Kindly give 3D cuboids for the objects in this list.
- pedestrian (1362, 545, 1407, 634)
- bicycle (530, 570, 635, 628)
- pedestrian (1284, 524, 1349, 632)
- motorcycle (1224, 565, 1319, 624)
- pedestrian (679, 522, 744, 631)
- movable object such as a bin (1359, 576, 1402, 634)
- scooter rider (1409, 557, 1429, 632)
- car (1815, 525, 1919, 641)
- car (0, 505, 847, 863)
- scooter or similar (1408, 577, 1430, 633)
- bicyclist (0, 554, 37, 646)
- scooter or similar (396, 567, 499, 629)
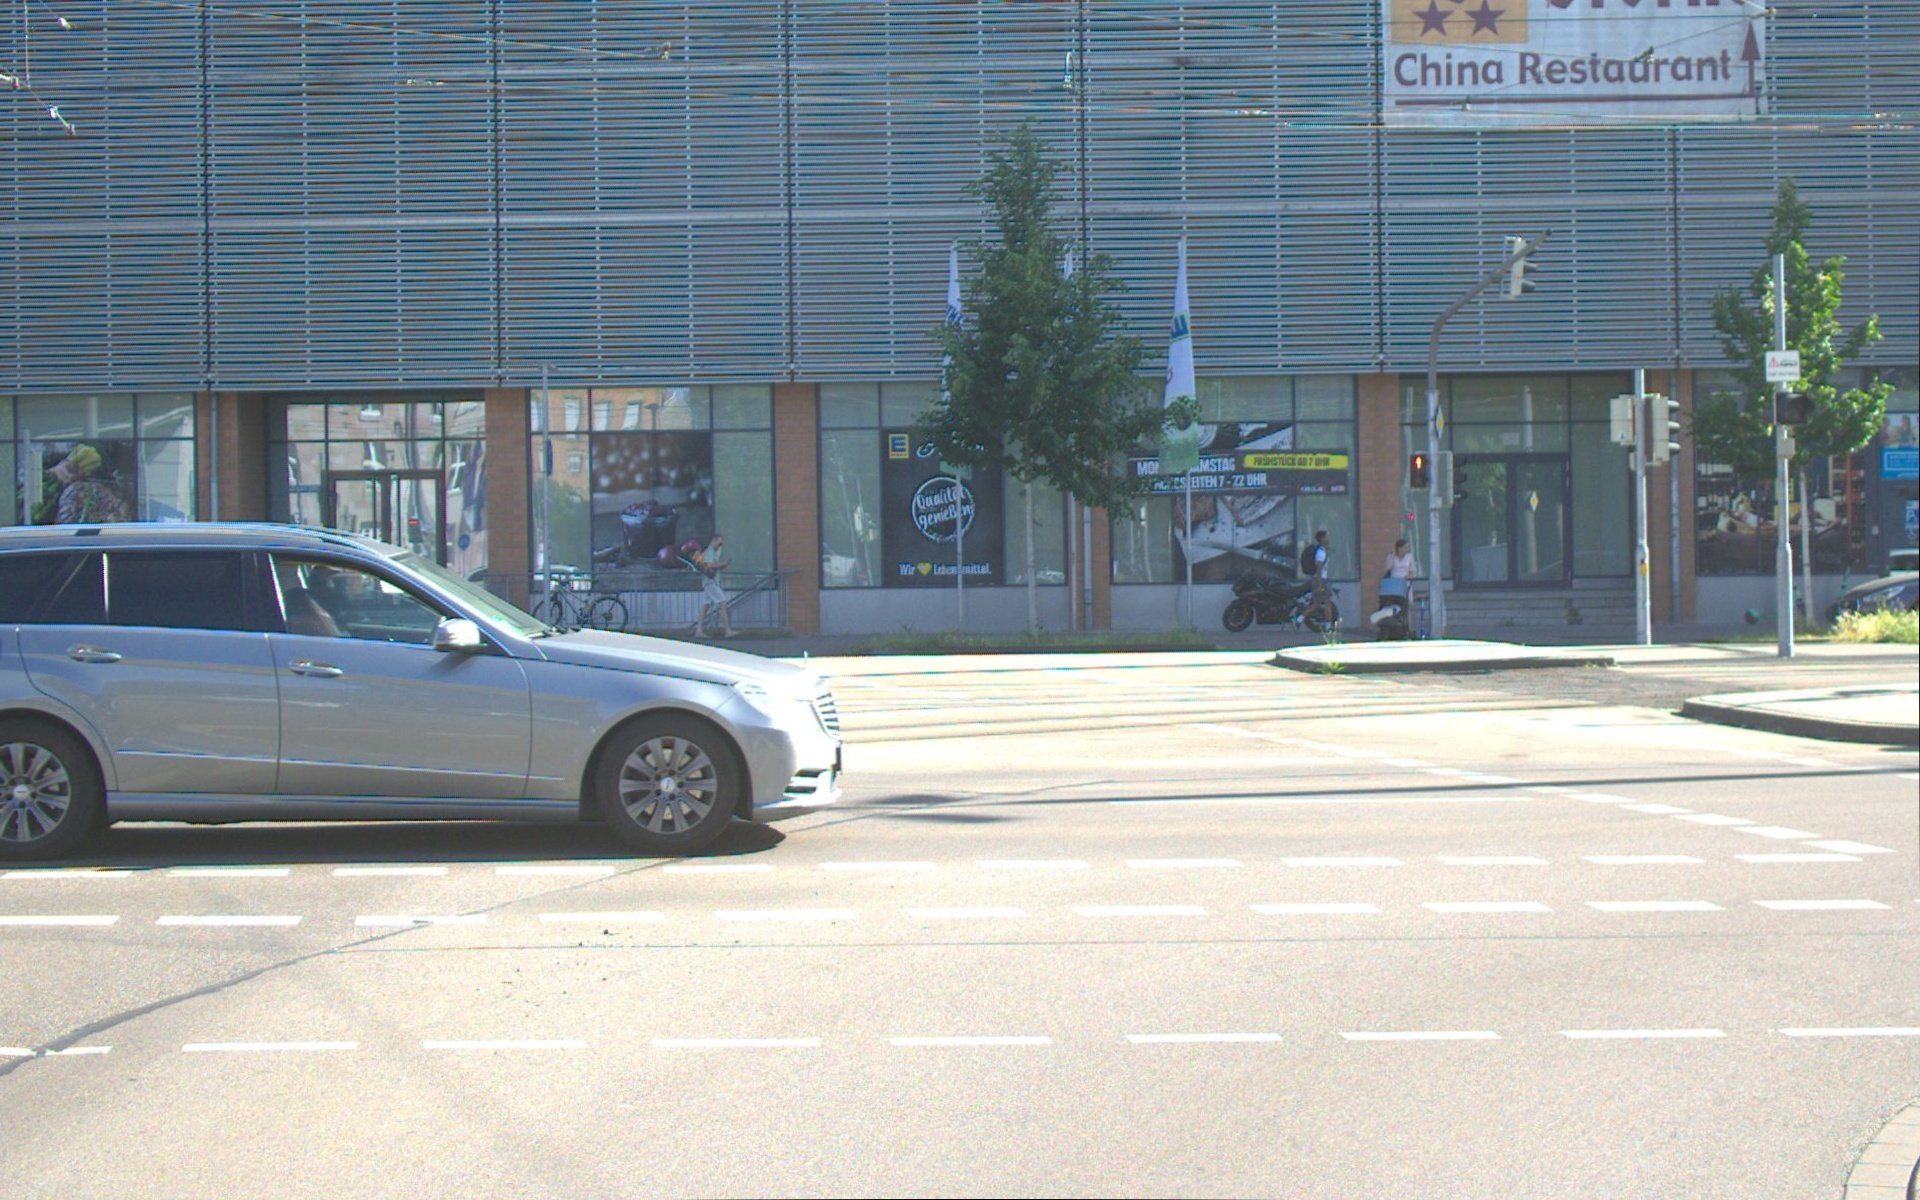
[{"bbox_3d":[6.830,-0.177,55.270,0.655,1.409,0.849,1,0,10],"label":"pedestrian"},{"bbox_3d":[-6.650,-0.017,60.543,1.815,0.986,0.558,-1,2,-10],"label":"bicycle"},{"bbox_3d":[6.138,-0.387,59.238,1.012,1.822,1.035,-2,1,3],"label":"pedestrian"},{"bbox_3d":[5.494,-0.101,60.636,1.640,1.001,0.446,1,1,6],"label":"motorcycle"},{"bbox_3d":[-4.305,-0.406,59.629,0.950,1.822,0.845,-2,-3,5],"label":"pedestrian"},{"bbox_3d":[6.712,0.079,54.809,0.613,0.901,0.968,1,0,10],"label":"movable object such as a bin"},{"bbox_3d":[7.344,-0.087,55.030,0.288,1.196,0.385,1,0,10],"label":"scooter rider"},{"bbox_3d":[13.754,-0.143,45.847,4.146,1.464,1.841,3,0,-1],"label":"car"},{"bbox_3d":[-3.004,0.357,16.178,4.855,1.567,1.707,0,1,-4],"label":"car"},{"bbox_3d":[7.351,0.075,55.092,0.295,0.870,1.003,1,0,10],"label":"scooter or similar"},{"bbox_3d":[-15.280,0.000,54.781,0.675,1.422,0.847,1,3,43],"label":"bicyclist"},{"bbox_3d":[-9.079,-0.047,60.926,1.792,1.062,0.613,0,2,-8],"label":"scooter or similar"}]
